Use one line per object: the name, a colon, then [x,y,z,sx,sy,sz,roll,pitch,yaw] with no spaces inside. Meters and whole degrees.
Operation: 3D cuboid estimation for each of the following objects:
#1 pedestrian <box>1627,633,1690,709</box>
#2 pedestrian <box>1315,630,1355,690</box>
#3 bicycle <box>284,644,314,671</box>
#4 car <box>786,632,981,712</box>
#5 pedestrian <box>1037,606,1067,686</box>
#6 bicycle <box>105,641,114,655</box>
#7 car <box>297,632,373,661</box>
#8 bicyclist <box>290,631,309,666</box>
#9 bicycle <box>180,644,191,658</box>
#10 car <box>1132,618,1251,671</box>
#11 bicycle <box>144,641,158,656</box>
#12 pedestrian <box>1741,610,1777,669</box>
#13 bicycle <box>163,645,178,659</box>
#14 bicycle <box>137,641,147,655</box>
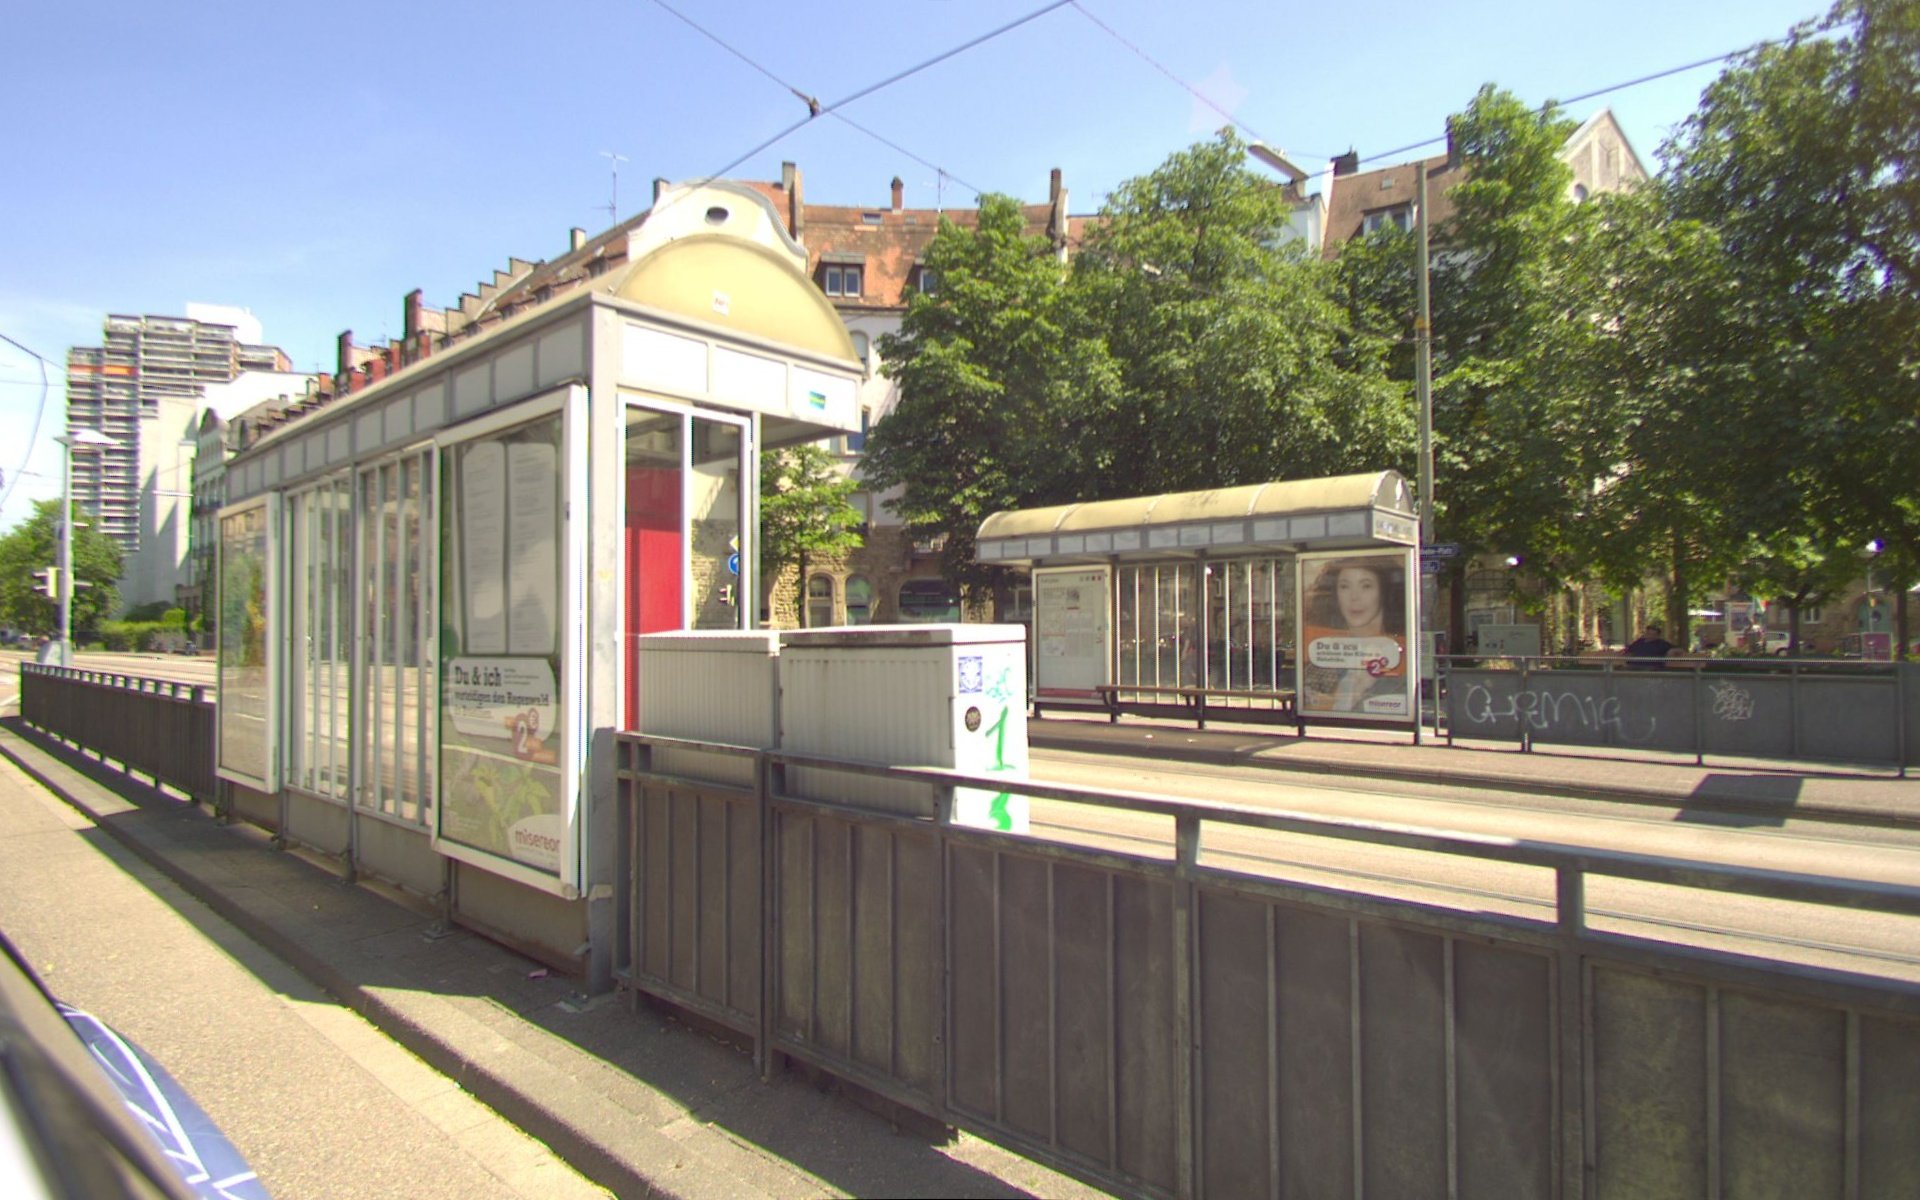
pedestrian: [12.190,1.232,17.683,0.637,1.297,0.618,-1,-1,1]
pedestrian: [8.022,1.280,21.662,0.637,1.265,0.549,-1,-1,1]
bicycle: [-29.835,2.578,45.670,1.977,1.166,0.621,-2,-2,41]
car: [-1.520,1.303,19.361,3.716,1.349,1.525,-1,-1,40]
pedestrian: [2.227,1.092,24.403,0.504,1.893,0.494,1,-2,-44]
bicycle: [-70.889,3.989,84.361,1.727,1.076,0.336,-1,-2,41]
car: [-34.530,2.569,55.979,1.530,1.483,3.315,-2,-2,45]
bicyclist: [-29.756,2.173,45.584,0.585,1.586,0.602,-2,-2,41]
bicycle: [-50.734,3.338,66.259,1.613,0.924,0.250,-2,-2,41]
car: [7.271,1.386,31.848,3.554,1.587,1.575,-1,-1,15]
bicycle: [-59.558,3.550,74.509,2.046,1.105,0.487,-2,-2,41]
pedestrian: [27.833,1.368,35.248,0.800,2.029,0.717,1,-2,-32]
bicycle: [-53.807,3.546,68.965,1.953,0.955,0.457,-2,-2,41]
bicycle: [-62.081,3.634,76.788,1.899,1.054,0.286,-1,-2,41]
